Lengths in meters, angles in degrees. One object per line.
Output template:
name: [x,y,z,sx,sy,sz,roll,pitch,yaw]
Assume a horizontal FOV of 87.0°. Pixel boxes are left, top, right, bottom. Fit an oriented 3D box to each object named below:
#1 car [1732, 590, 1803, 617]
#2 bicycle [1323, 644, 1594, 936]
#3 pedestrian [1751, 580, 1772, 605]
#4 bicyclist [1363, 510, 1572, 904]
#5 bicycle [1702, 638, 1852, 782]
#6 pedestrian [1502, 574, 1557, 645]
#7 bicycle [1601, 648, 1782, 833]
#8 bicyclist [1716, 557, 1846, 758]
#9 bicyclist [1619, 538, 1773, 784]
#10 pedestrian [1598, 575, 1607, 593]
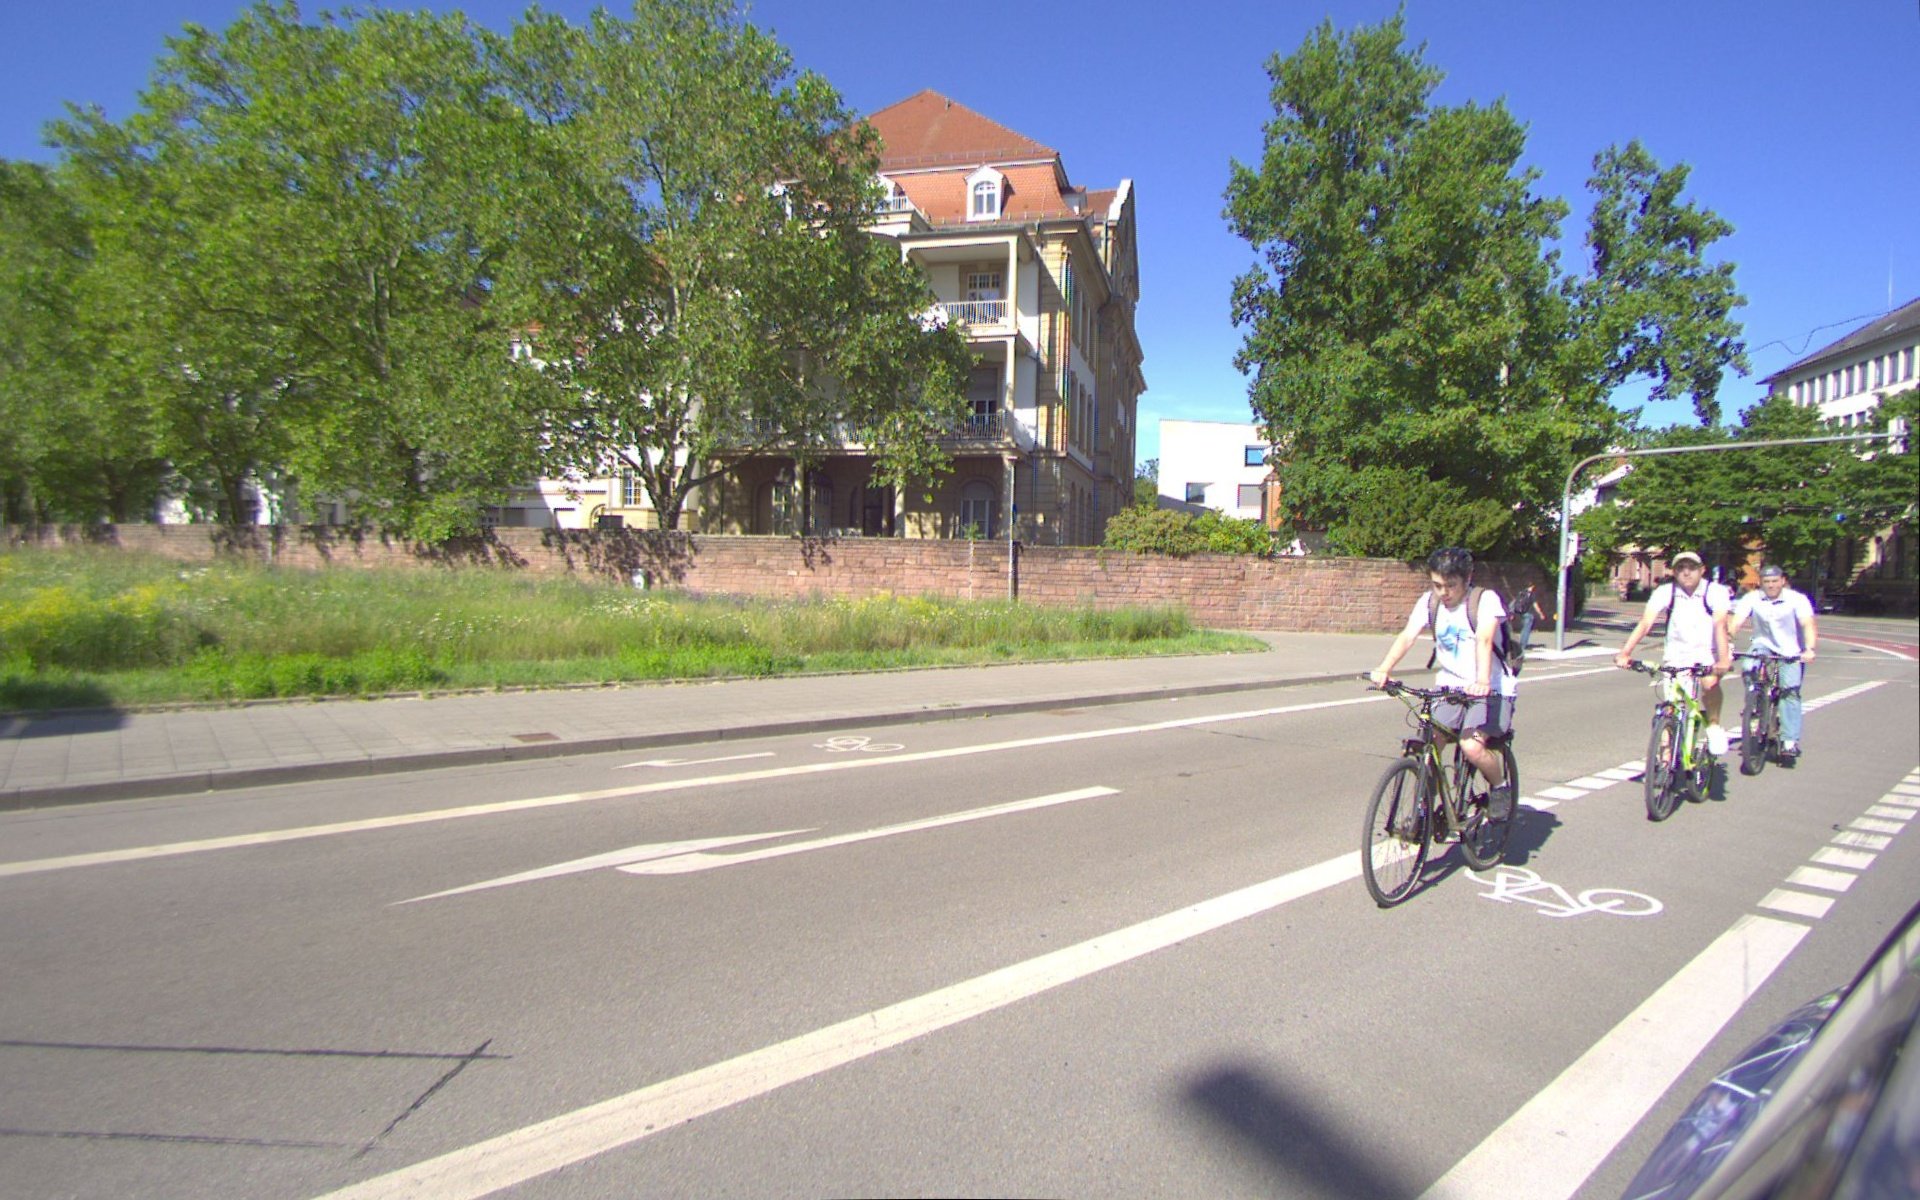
car: [50.053,0.202,62.840,1.822,1.504,4.149,2,2,14]
bicycle: [2.598,0.852,5.175,1.795,1.152,0.616,0,1,-42]
pedestrian: [59.292,-0.550,74.846,0.745,1.835,0.978,1,1,9]
bicyclist: [2.616,0.482,5.204,0.923,1.808,0.677,0,0,-42]
bicycle: [7.408,0.932,9.141,1.870,1.063,0.749,0,2,-42]
pedestrian: [15.452,0.248,27.472,0.941,1.872,0.733,2,2,-11]
bicycle: [5.218,0.915,7.176,1.812,1.064,0.672,0,0,-42]
bicyclist: [7.378,0.474,9.095,0.851,1.695,0.741,0,2,-42]
bicyclist: [5.248,0.394,7.207,1.062,1.603,0.675,0,0,-42]
pedestrian: [68.785,-1.727,108.290,0.751,1.836,0.969,1,-3,30]
